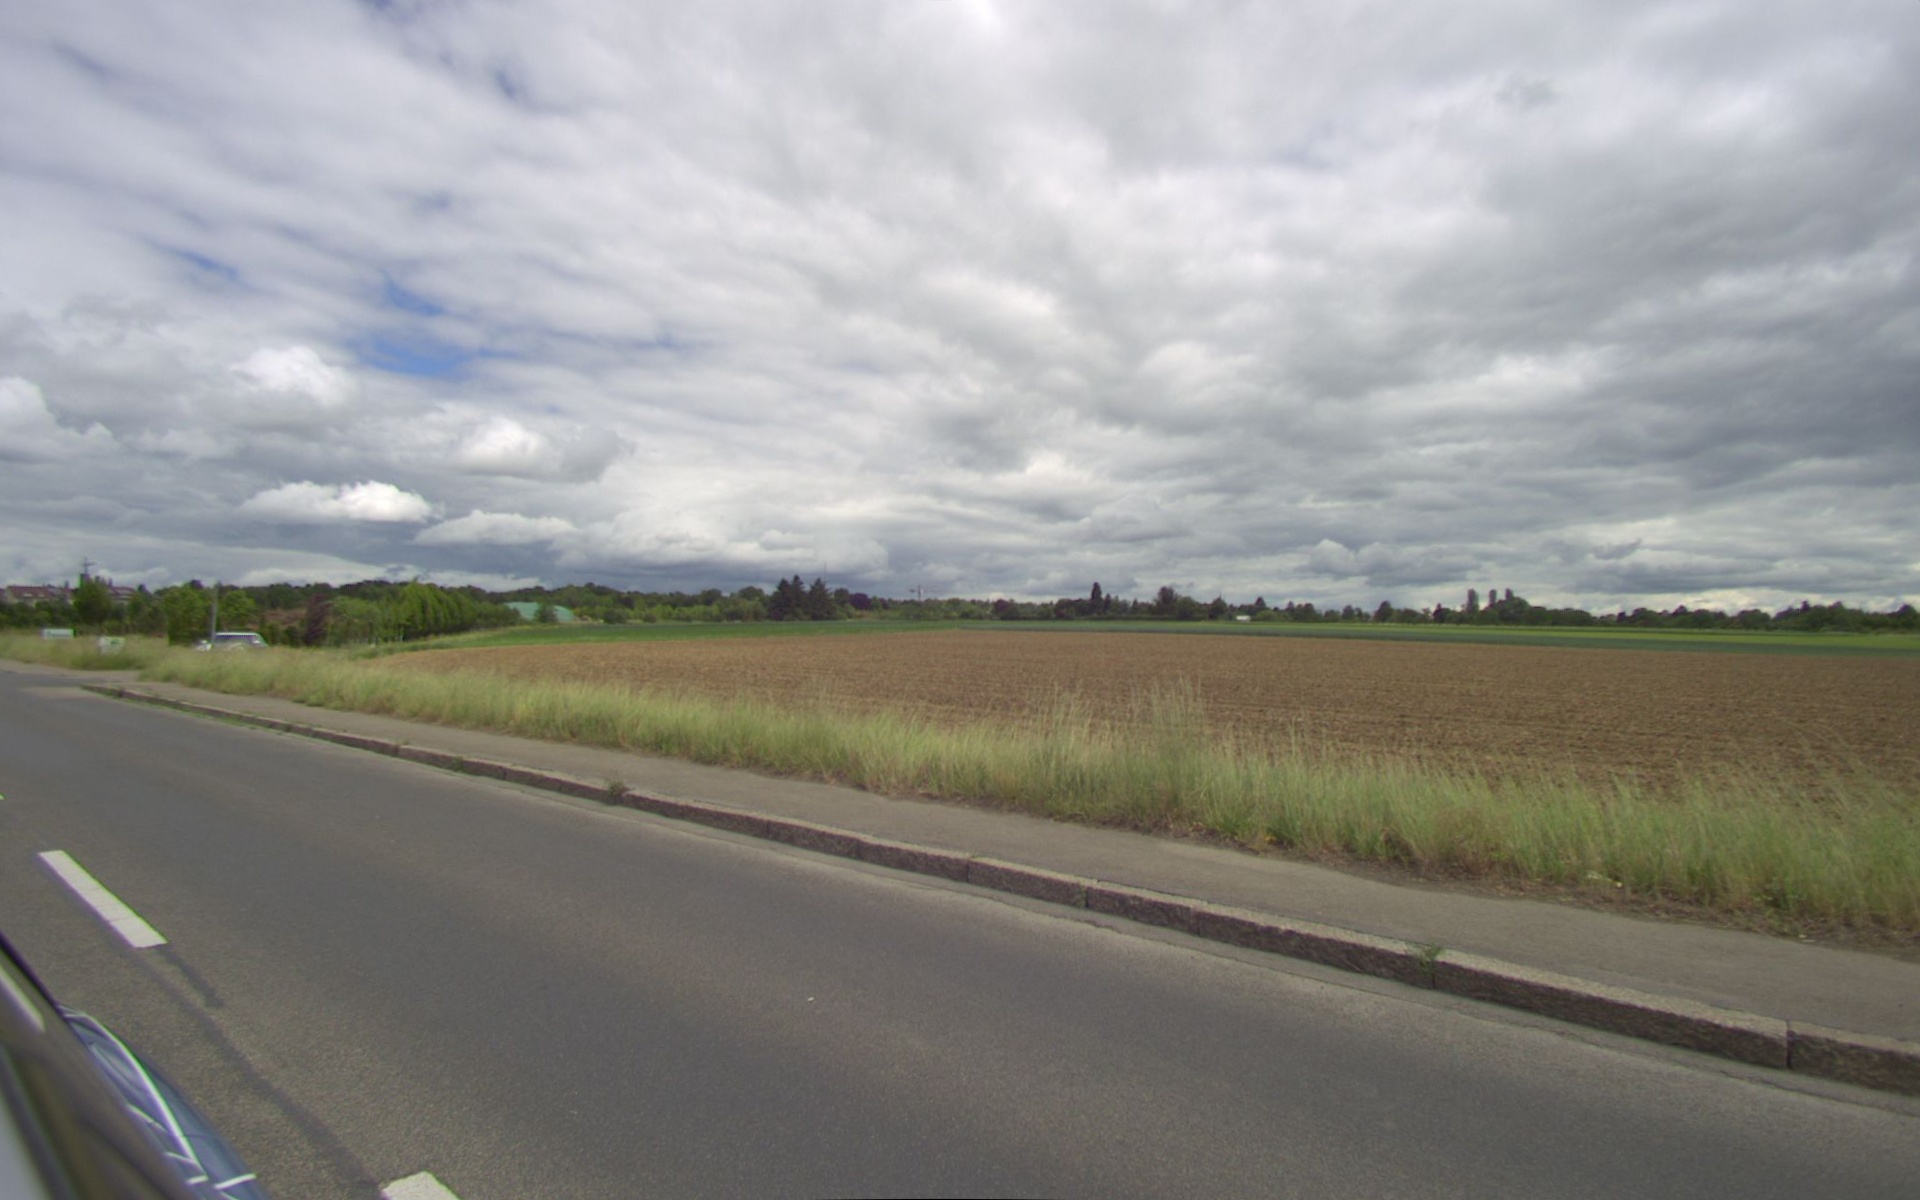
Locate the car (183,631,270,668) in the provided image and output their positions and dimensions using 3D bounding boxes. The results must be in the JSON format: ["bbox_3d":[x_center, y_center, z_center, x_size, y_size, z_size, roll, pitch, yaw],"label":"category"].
[{"bbox_3d":[-30.193,2.048,41.789,1.941,1.465,4.013,0,-3,-22],"label":"car"}]
